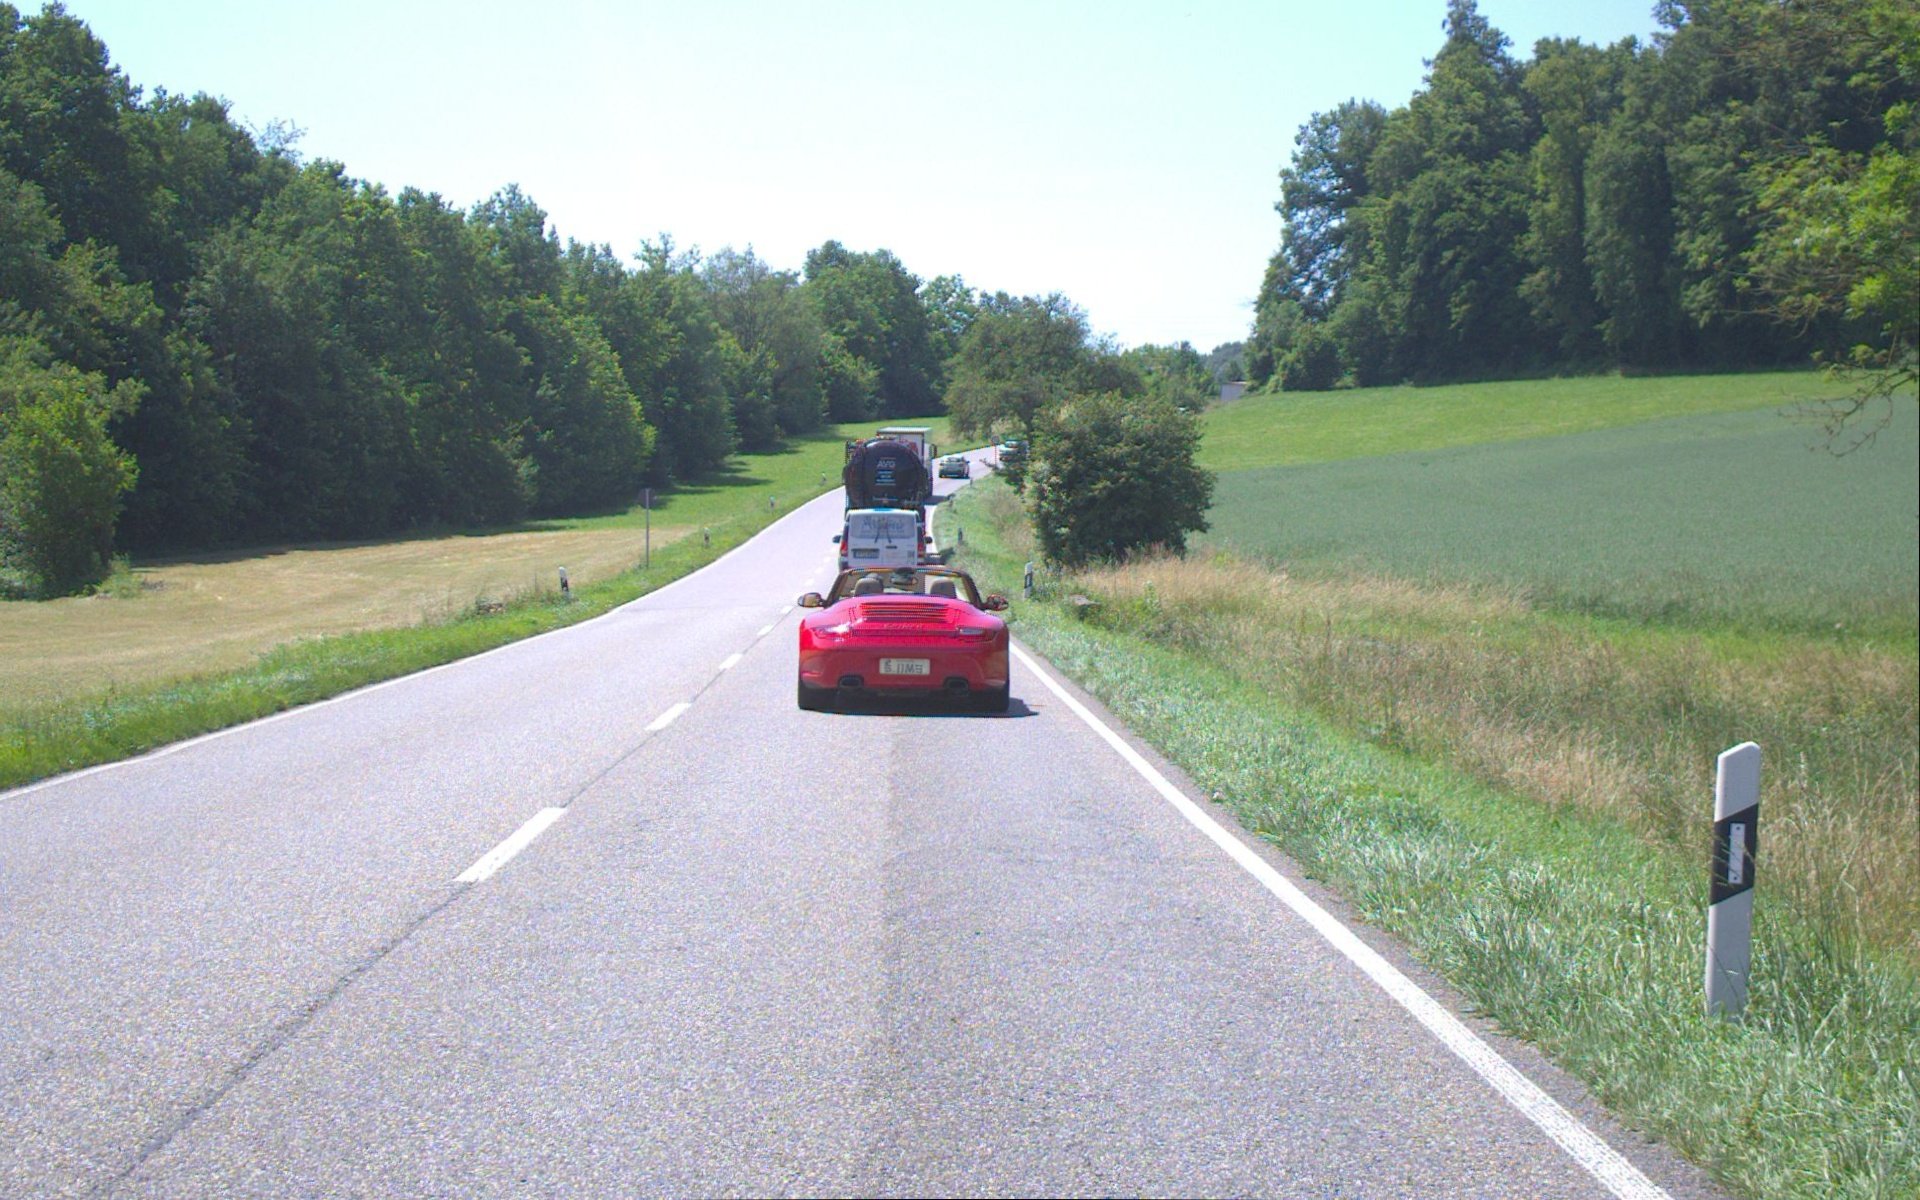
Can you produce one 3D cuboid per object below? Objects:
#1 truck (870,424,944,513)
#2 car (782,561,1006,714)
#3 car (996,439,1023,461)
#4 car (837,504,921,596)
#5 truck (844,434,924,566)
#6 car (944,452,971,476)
[{"bbox_3d":[-3.035,-7.480,194.066,3.725,4.644,12.034,-2,3,-2],"label":"truck"},{"bbox_3d":[-0.605,0.295,31.182,1.882,1.251,4.010,1,1,-1],"label":"car"},{"bbox_3d":[3.741,-11.292,258.685,1.698,1.491,3.711,-2,3,5],"label":"car"},{"bbox_3d":[-1.747,-1.105,75.539,1.678,1.894,4.010,-3,1,0],"label":"car"},{"bbox_3d":[-2.547,-3.315,112.089,2.403,4.035,12.552,-1,2,-2],"label":"truck"},{"bbox_3d":[-0.196,-9.182,231.807,1.697,1.491,3.712,-2,3,-1],"label":"car"}]
